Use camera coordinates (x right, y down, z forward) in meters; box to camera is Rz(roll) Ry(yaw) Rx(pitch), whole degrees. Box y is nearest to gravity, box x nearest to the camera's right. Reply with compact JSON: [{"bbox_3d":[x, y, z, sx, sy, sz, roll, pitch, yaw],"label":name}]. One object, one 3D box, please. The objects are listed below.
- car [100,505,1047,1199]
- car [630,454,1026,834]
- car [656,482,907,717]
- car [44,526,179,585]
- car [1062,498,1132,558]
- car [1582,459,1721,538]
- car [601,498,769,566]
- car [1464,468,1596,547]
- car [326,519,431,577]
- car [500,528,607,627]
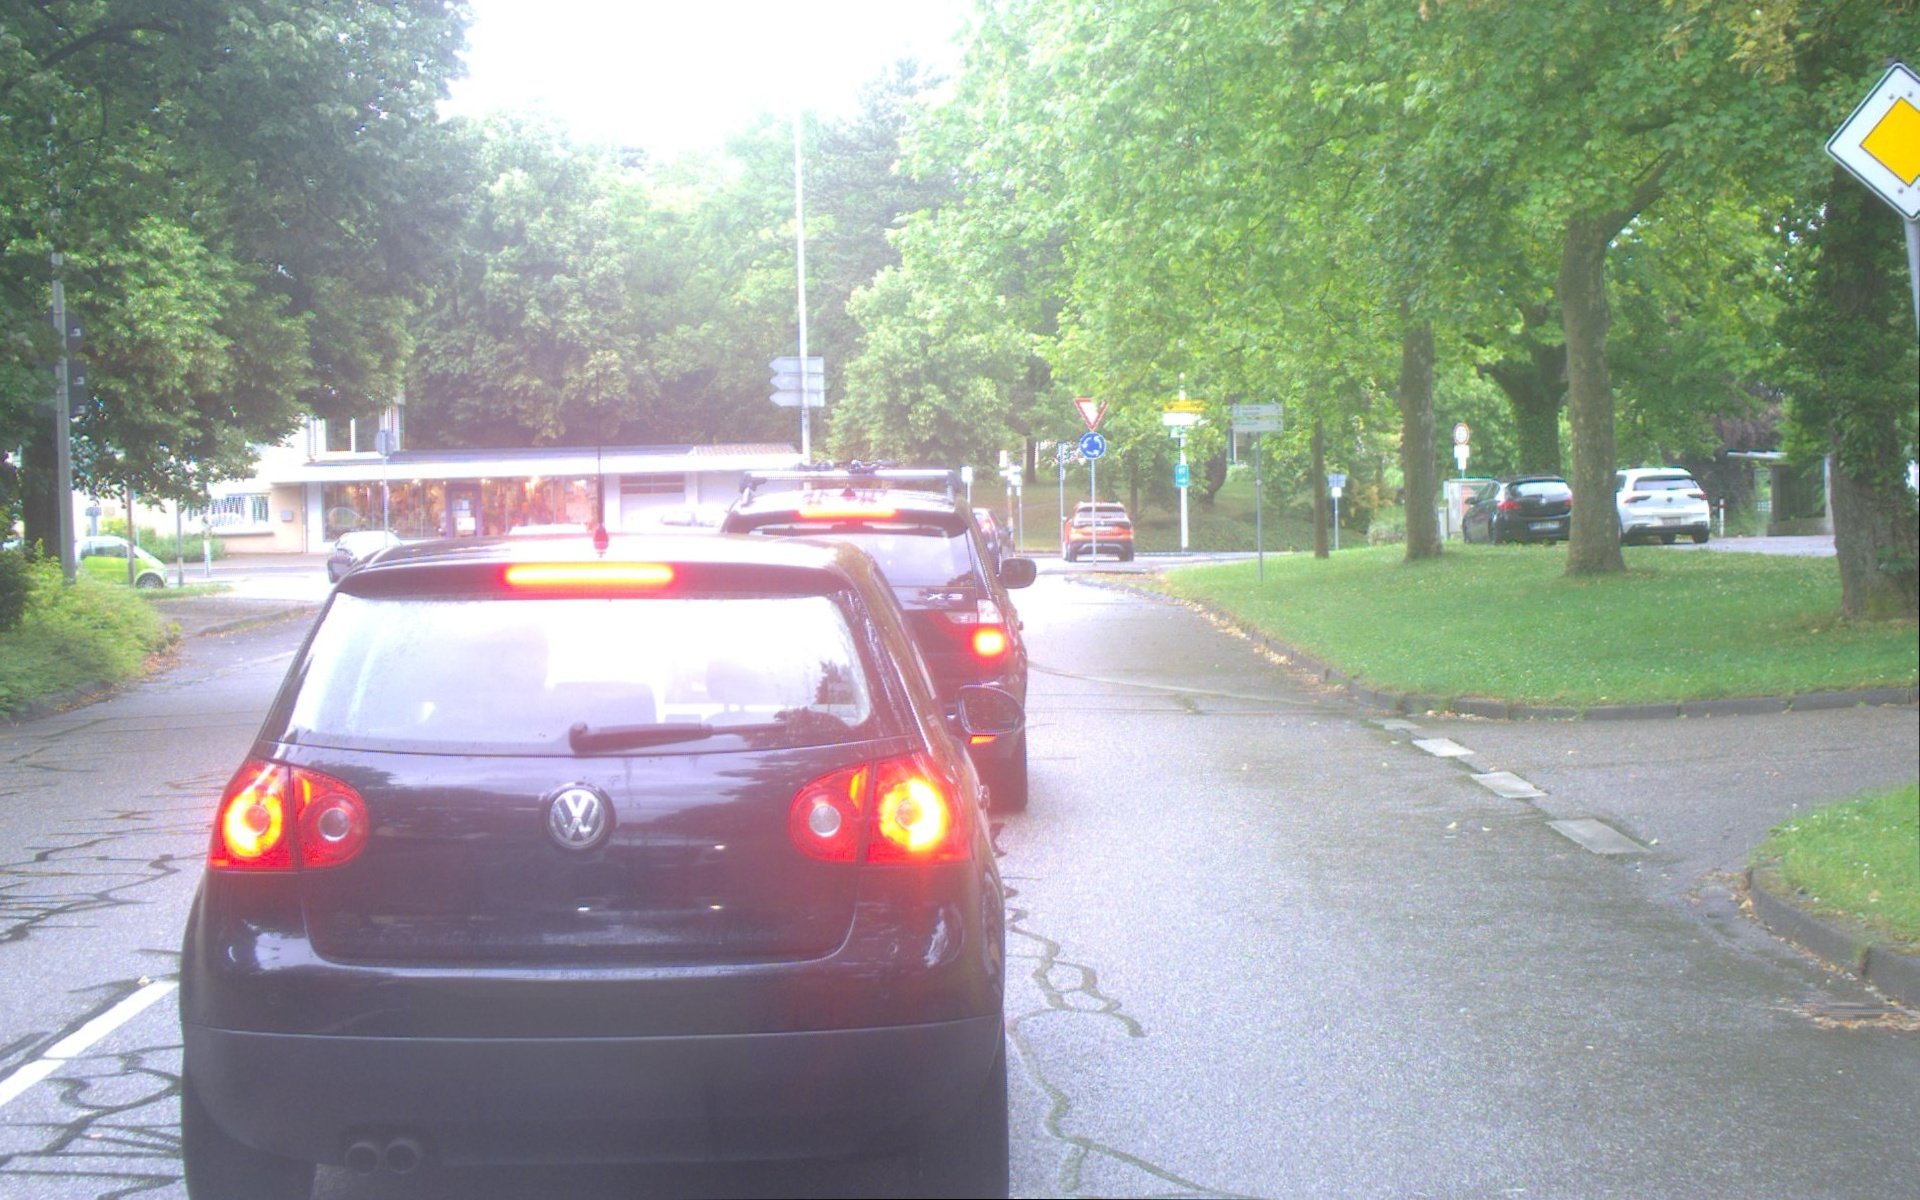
[{"bbox_3d":[-0.737,0.528,8.424,1.798,1.510,3.754,0,2,0],"label":"car"},{"bbox_3d":[-0.634,0.153,18.475,1.855,1.778,4.000,-1,2,0],"label":"car"},{"bbox_3d":[-1.417,-0.038,28.746,1.855,1.778,4.000,-1,1,0],"label":"car"},{"bbox_3d":[-20.712,-1.095,83.994,3.119,1.305,1.540,-3,1,-12],"label":"car"},{"bbox_3d":[3.618,-1.909,91.557,1.706,1.508,3.673,-2,1,1],"label":"car"},{"bbox_3d":[13.407,-1.979,66.874,1.803,1.401,4.001,-3,2,0],"label":"car"},{"bbox_3d":[-6.698,-1.664,83.988,3.792,1.612,1.777,0,1,7],"label":"car"},{"bbox_3d":[10.994,-1.807,66.504,1.803,1.380,4.001,-3,2,0],"label":"car"},{"bbox_3d":[-15.343,-1.357,90.576,1.797,1.388,3.979,-4,2,-23],"label":"car"},{"bbox_3d":[-6.579,-0.389,55.894,1.607,1.422,4.009,-2,2,-6],"label":"car"}]
